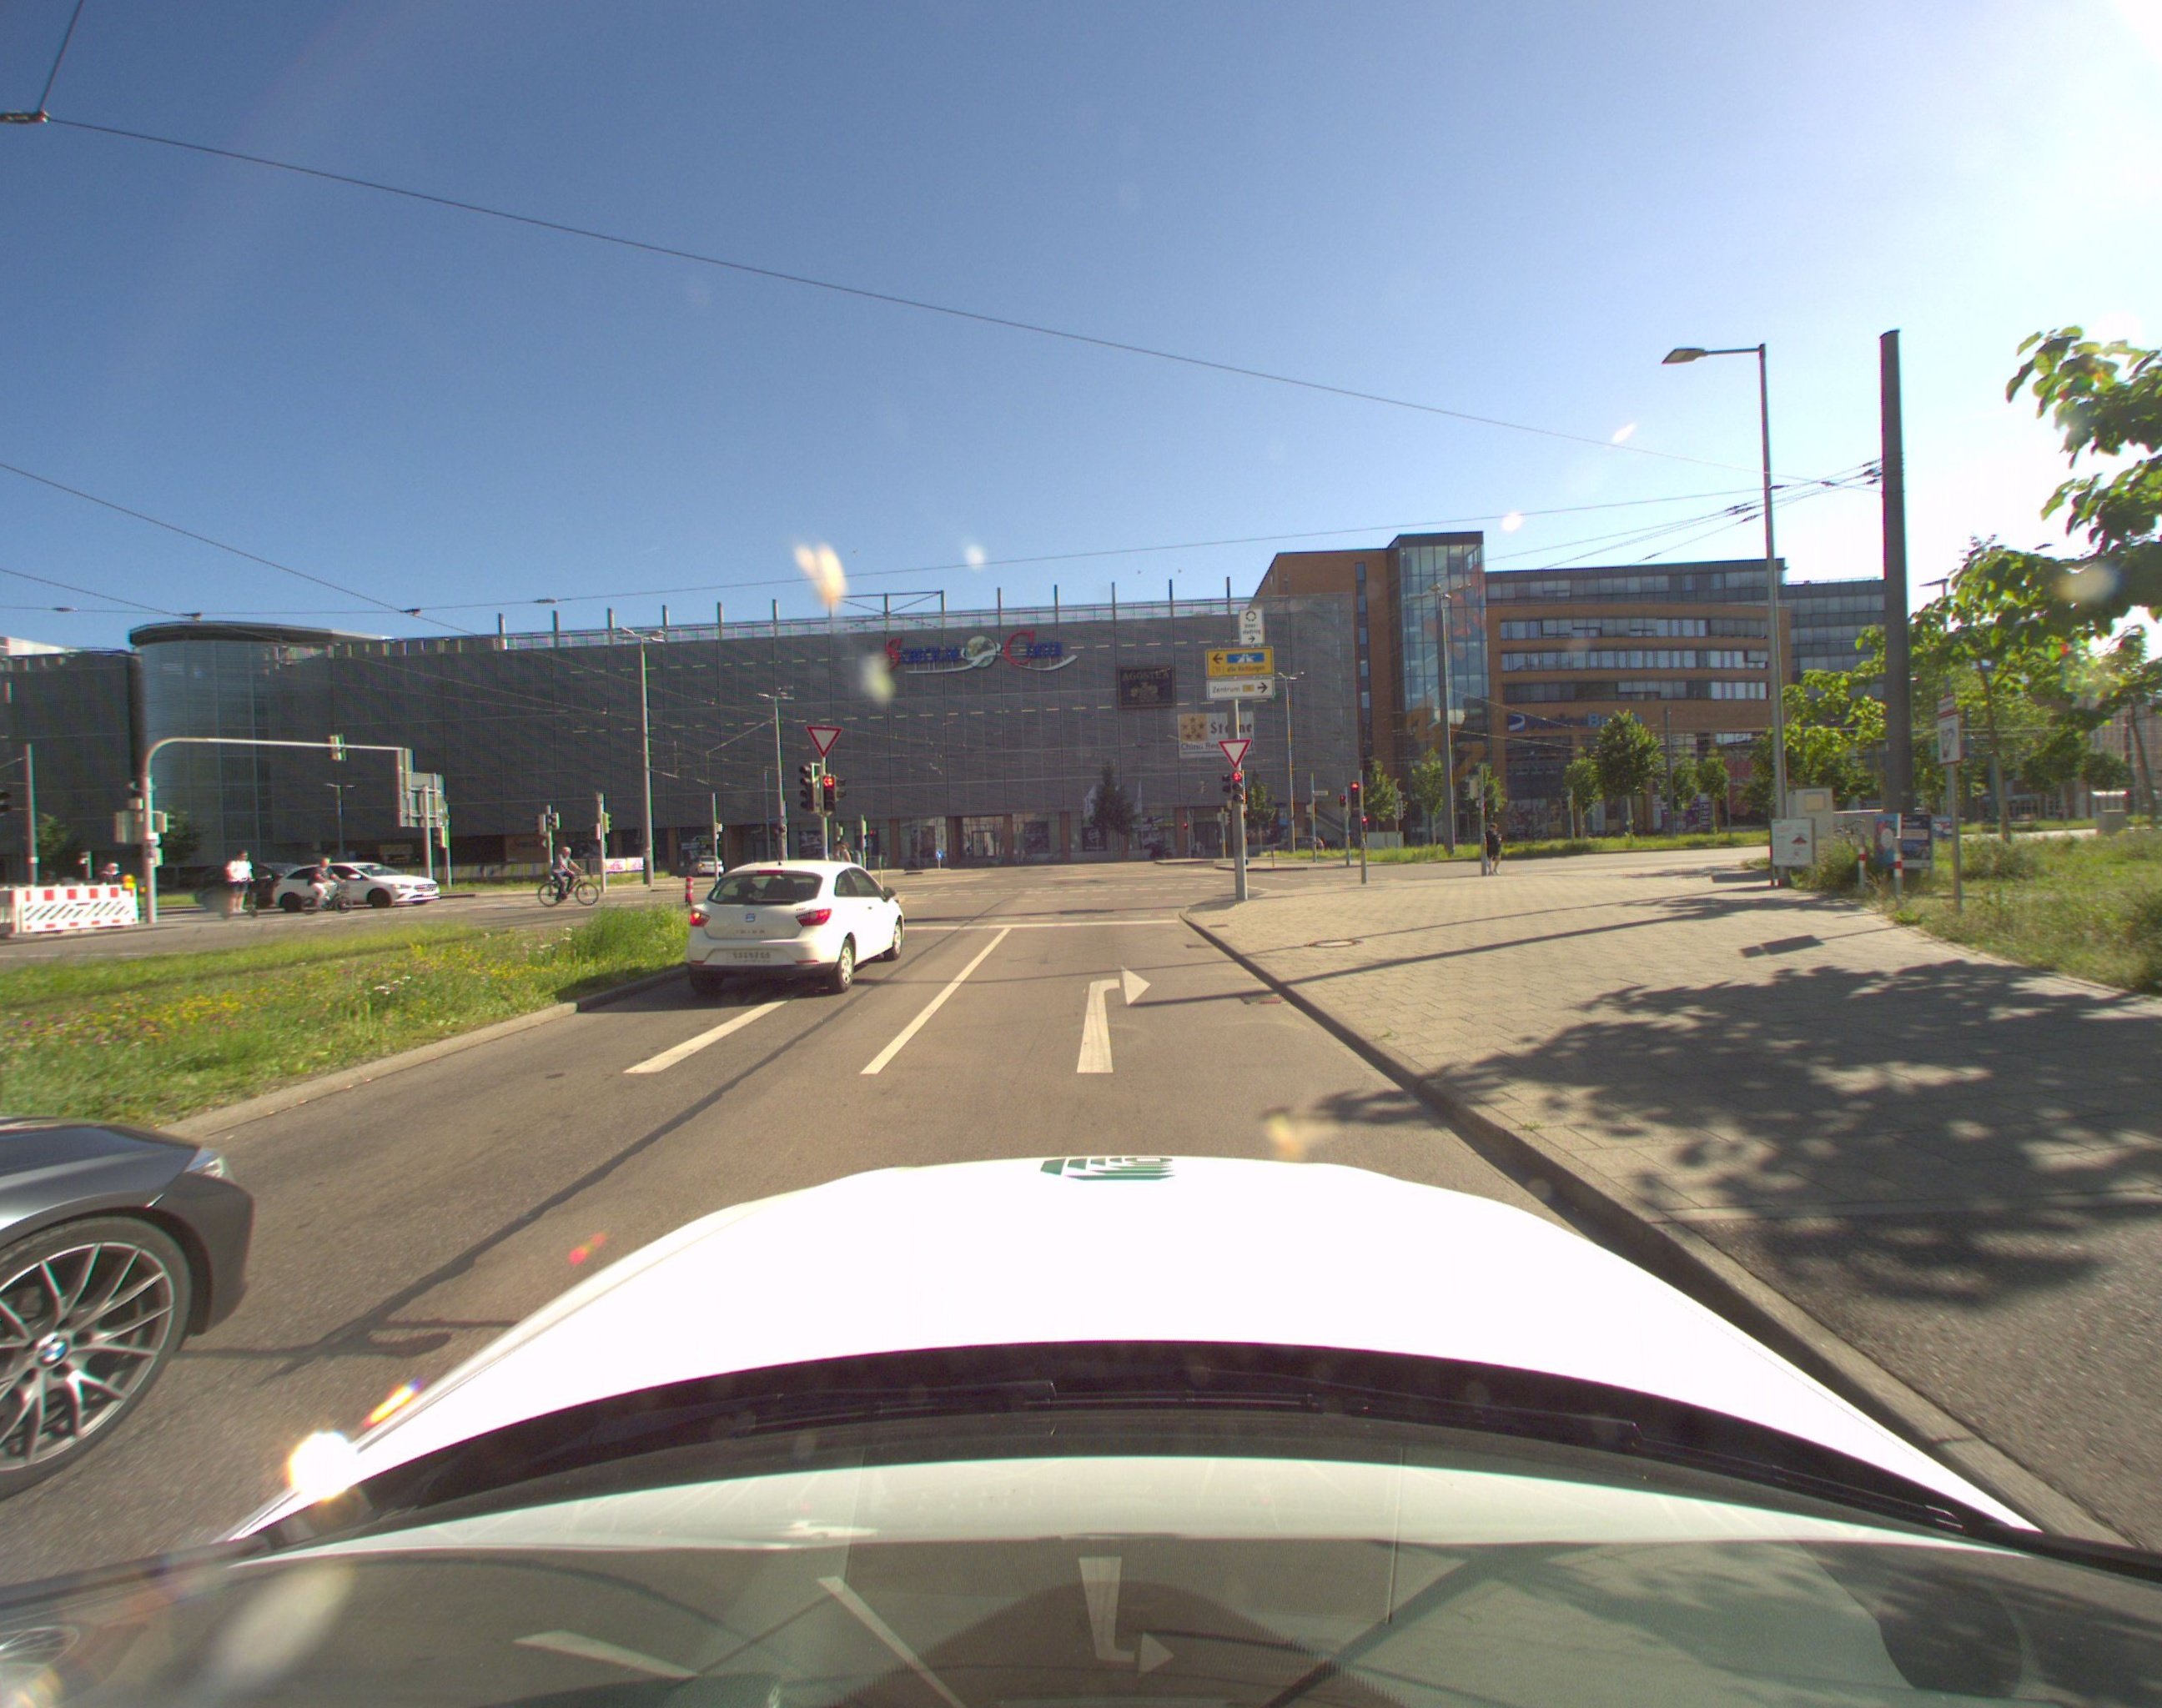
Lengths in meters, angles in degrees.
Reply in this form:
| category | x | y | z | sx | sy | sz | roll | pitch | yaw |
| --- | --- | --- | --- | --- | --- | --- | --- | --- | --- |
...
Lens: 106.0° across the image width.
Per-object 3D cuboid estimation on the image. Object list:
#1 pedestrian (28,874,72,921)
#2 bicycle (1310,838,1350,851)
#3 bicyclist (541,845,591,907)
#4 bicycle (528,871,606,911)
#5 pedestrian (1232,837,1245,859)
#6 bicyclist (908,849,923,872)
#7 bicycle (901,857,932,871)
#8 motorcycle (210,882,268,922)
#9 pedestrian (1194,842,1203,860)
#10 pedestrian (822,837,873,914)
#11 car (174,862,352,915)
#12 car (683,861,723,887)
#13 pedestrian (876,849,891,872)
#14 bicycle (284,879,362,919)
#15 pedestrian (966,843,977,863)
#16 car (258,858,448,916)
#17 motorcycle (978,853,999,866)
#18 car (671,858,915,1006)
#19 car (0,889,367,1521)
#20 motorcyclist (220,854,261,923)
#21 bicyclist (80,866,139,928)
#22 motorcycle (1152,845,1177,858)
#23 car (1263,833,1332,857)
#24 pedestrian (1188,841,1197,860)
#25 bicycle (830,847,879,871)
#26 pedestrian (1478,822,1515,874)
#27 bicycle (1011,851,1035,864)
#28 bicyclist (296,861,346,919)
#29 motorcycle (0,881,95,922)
| category | x | y | z | sx | sy | sz | roll | pitch | yaw |
| --- | --- | --- | --- | --- | --- | --- | --- | --- | --- |
| pedestrian | -37.892 | 1.600 | 29.934 | 0.741 | 1.677 | 0.664 | -1 | 0 | 0 |
| bicycle | 22.477 | -0.843 | 73.546 | 3.343 | 1.077 | 1.119 | -1 | 1 | 6 |
| bicyclist | -15.901 | 0.663 | 25.174 | 0.899 | 1.859 | 0.854 | -2 | 0 | 1 |
| bicycle | -15.868 | 1.140 | 25.184 | 1.822 | 1.116 | 0.853 | -2 | 0 | 0 |
| pedestrian | 13.209 | -0.506 | 68.187 | 0.852 | 1.738 | 0.752 | -2 | 0 | -6 |
| bicyclist | -13.636 | 0.522 | 67.128 | 0.850 | 1.803 | 0.806 | -2 | 0 | -41 |
| bicycle | -13.542 | 0.836 | 67.194 | 2.257 | 1.070 | 1.034 | -3 | 0 | -40 |
| motorcycle | -25.151 | 1.426 | 24.332 | 1.182 | 1.121 | 0.483 | -2 | 0 | 0 |
| pedestrian | 9.950 | -0.258 | 69.035 | 0.587 | 1.462 | 0.658 | -2 | 0 | 0 |
| pedestrian | -5.370 | 0.491 | 18.764 | 0.883 | 1.707 | 0.712 | -2 | 0 | 0 |
| car | -30.259 | 1.257 | 30.225 | 4.620 | 1.718 | 1.839 | -2 | 1 | 0 |
| car | -27.813 | 1.446 | 59.798 | 1.767 | 1.794 | 3.954 | 0 | 0 | -39 |
| pedestrian | -16.341 | 0.536 | 67.415 | 0.894 | 1.868 | 0.826 | -2 | 0 | 43 |
| bicycle | -22.557 | 1.324 | 24.268 | 1.572 | 1.107 | 0.734 | -1 | 0 | -3 |
| pedestrian | -9.872 | -0.089 | 73.413 | 0.845 | 1.763 | 0.620 | -2 | 0 | -1 |
| car | -24.149 | 1.068 | 27.145 | 4.478 | 1.634 | 1.837 | -2 | 1 | -3 |
| motorcycle | -7.701 | 0.461 | 68.021 | 1.642 | 1.059 | 0.498 | -2 | 0 | 9 |
| car | -3.269 | 0.793 | 10.051 | 1.627 | 1.423 | 3.782 | 1 | 0 | 0 |
| car | -3.411 | 0.857 | 0.630 | 1.728 | 1.423 | 4.468 | 1 | 0 | 0 |
| motorcyclist | -25.114 | 1.034 | 24.333 | 0.625 | 2.013 | 0.497 | -2 | 0 | 0 |
| bicyclist | -29.118 | 1.286 | 24.418 | 0.761 | 1.789 | 0.762 | -2 | 0 | -3 |
| motorcycle | 7.470 | -0.216 | 73.036 | 2.195 | 1.042 | 1.061 | -1 | 1 | 0 |
| car | 15.370 | -0.646 | 57.885 | 4.472 | 1.494 | 1.495 | -2 | 0 | 0 |
| pedestrian | 9.355 | -0.291 | 68.319 | 0.587 | 1.534 | 0.658 | -2 | 0 | 0 |
| bicycle | -20.599 | 0.464 | 74.151 | 3.973 | 2.013 | 1.330 | -1 | 1 | 0 |
| pedestrian | 14.103 | -0.196 | 27.656 | 0.804 | 1.708 | 0.762 | -2 | 0 | 0 |
| bicycle | -5.158 | 0.303 | 73.076 | 2.019 | 1.059 | 1.145 | -2 | 0 | 0 |
| bicyclist | -22.619 | 1.059 | 24.245 | 0.780 | 1.648 | 0.690 | -2 | 0 | -2 |
| motorcycle | -38.043 | 1.739 | 29.930 | 2.436 | 1.419 | 0.914 | -1 | 0 | -2 |
